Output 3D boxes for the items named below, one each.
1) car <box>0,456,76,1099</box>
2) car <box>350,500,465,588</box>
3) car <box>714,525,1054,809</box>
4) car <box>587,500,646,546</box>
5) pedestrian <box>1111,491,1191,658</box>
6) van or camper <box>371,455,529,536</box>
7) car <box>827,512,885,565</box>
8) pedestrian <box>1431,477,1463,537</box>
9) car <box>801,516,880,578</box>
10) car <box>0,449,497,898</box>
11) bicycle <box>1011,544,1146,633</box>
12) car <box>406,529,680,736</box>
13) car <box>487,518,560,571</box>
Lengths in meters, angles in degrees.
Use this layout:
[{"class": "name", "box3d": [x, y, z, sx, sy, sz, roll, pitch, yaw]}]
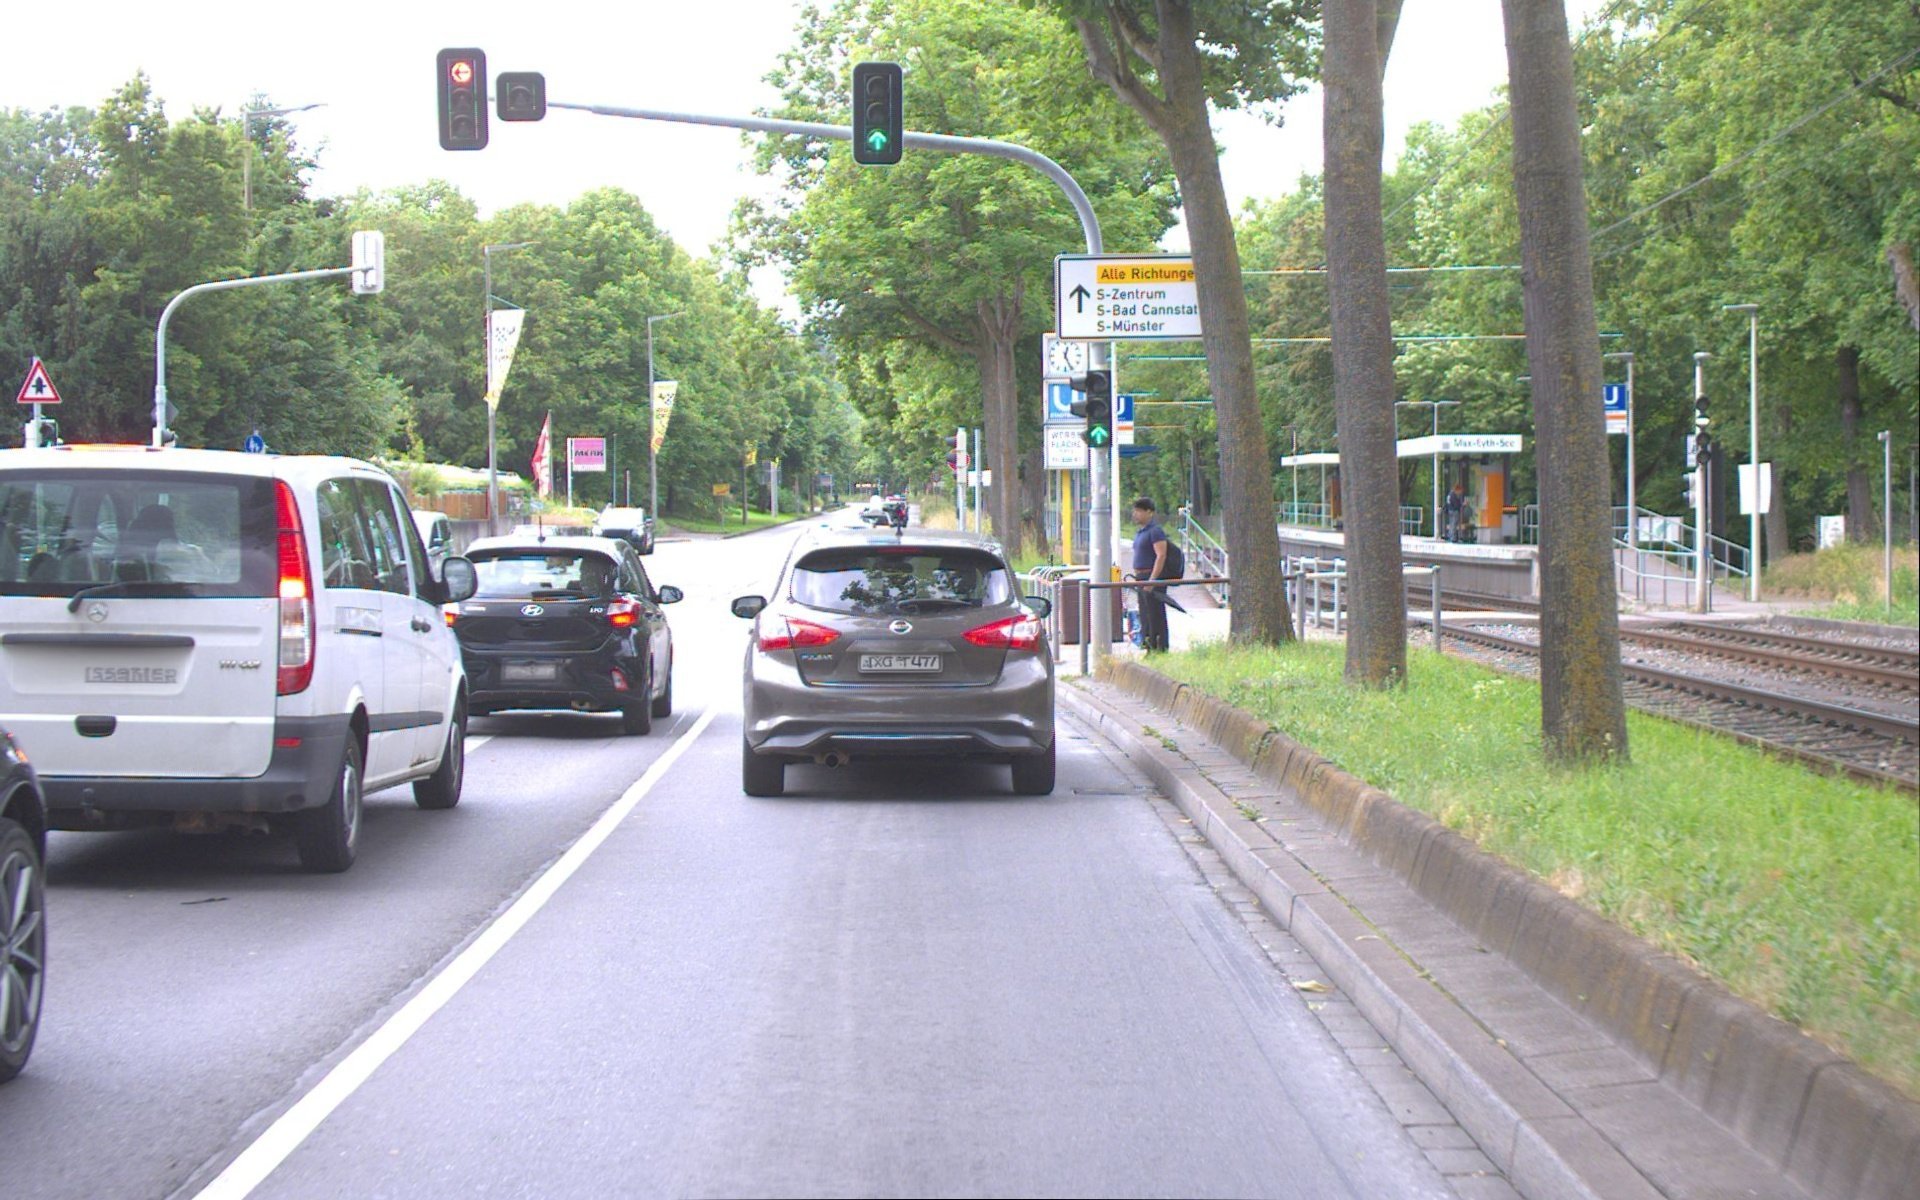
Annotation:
[{"class": "car", "box3d": [-3.425, 0.498, 7.782, 1.751, 1.712, 4.334, 0, 1, 0]}, {"class": "car", "box3d": [-12.290, -1.261, 76.719, 1.942, 1.867, 4.542, 1, 1, -1]}, {"class": "car", "box3d": [-0.371, 0.321, 20.657, 1.837, 1.523, 3.929, 1, 1, 1]}, {"class": "car", "box3d": [-12.648, -2.833, 126.870, 1.901, 1.673, 5.081, 0, 1, -3]}, {"class": "pedestrian", "box3d": [2.046, -0.276, 36.742, 0.752, 1.731, 0.839, -3, 1, 4]}, {"class": "van or camper", "box3d": [-25.217, -5.187, 170.134, 7.141, 3.359, 2.797, 5, 2, 0]}, {"class": "car", "box3d": [-3.076, -1.828, 101.974, 1.503, 1.523, 3.671, 1, 1, 1]}, {"class": "pedestrian", "box3d": [12.465, -2.369, 88.034, 0.718, 1.506, 0.724, 2, 1, 2]}, {"class": "car", "box3d": [-2.927, -1.307, 84.503, 1.710, 1.470, 3.671, 1, 1, 1]}, {"class": "car", "box3d": [-3.538, 0.245, 16.714, 1.907, 1.837, 5.282, 0, 1, 0]}, {"class": "bicycle", "box3d": [1.560, -0.160, 45.467, 1.674, 1.086, 0.602, -3, 1, -4]}, {"class": "car", "box3d": [-3.143, 0.197, 26.529, 1.703, 1.475, 3.668, 0, 1, 0]}, {"class": "car", "box3d": [-12.727, -1.612, 100.452, 1.741, 1.459, 4.343, 1, 1, -2]}]
